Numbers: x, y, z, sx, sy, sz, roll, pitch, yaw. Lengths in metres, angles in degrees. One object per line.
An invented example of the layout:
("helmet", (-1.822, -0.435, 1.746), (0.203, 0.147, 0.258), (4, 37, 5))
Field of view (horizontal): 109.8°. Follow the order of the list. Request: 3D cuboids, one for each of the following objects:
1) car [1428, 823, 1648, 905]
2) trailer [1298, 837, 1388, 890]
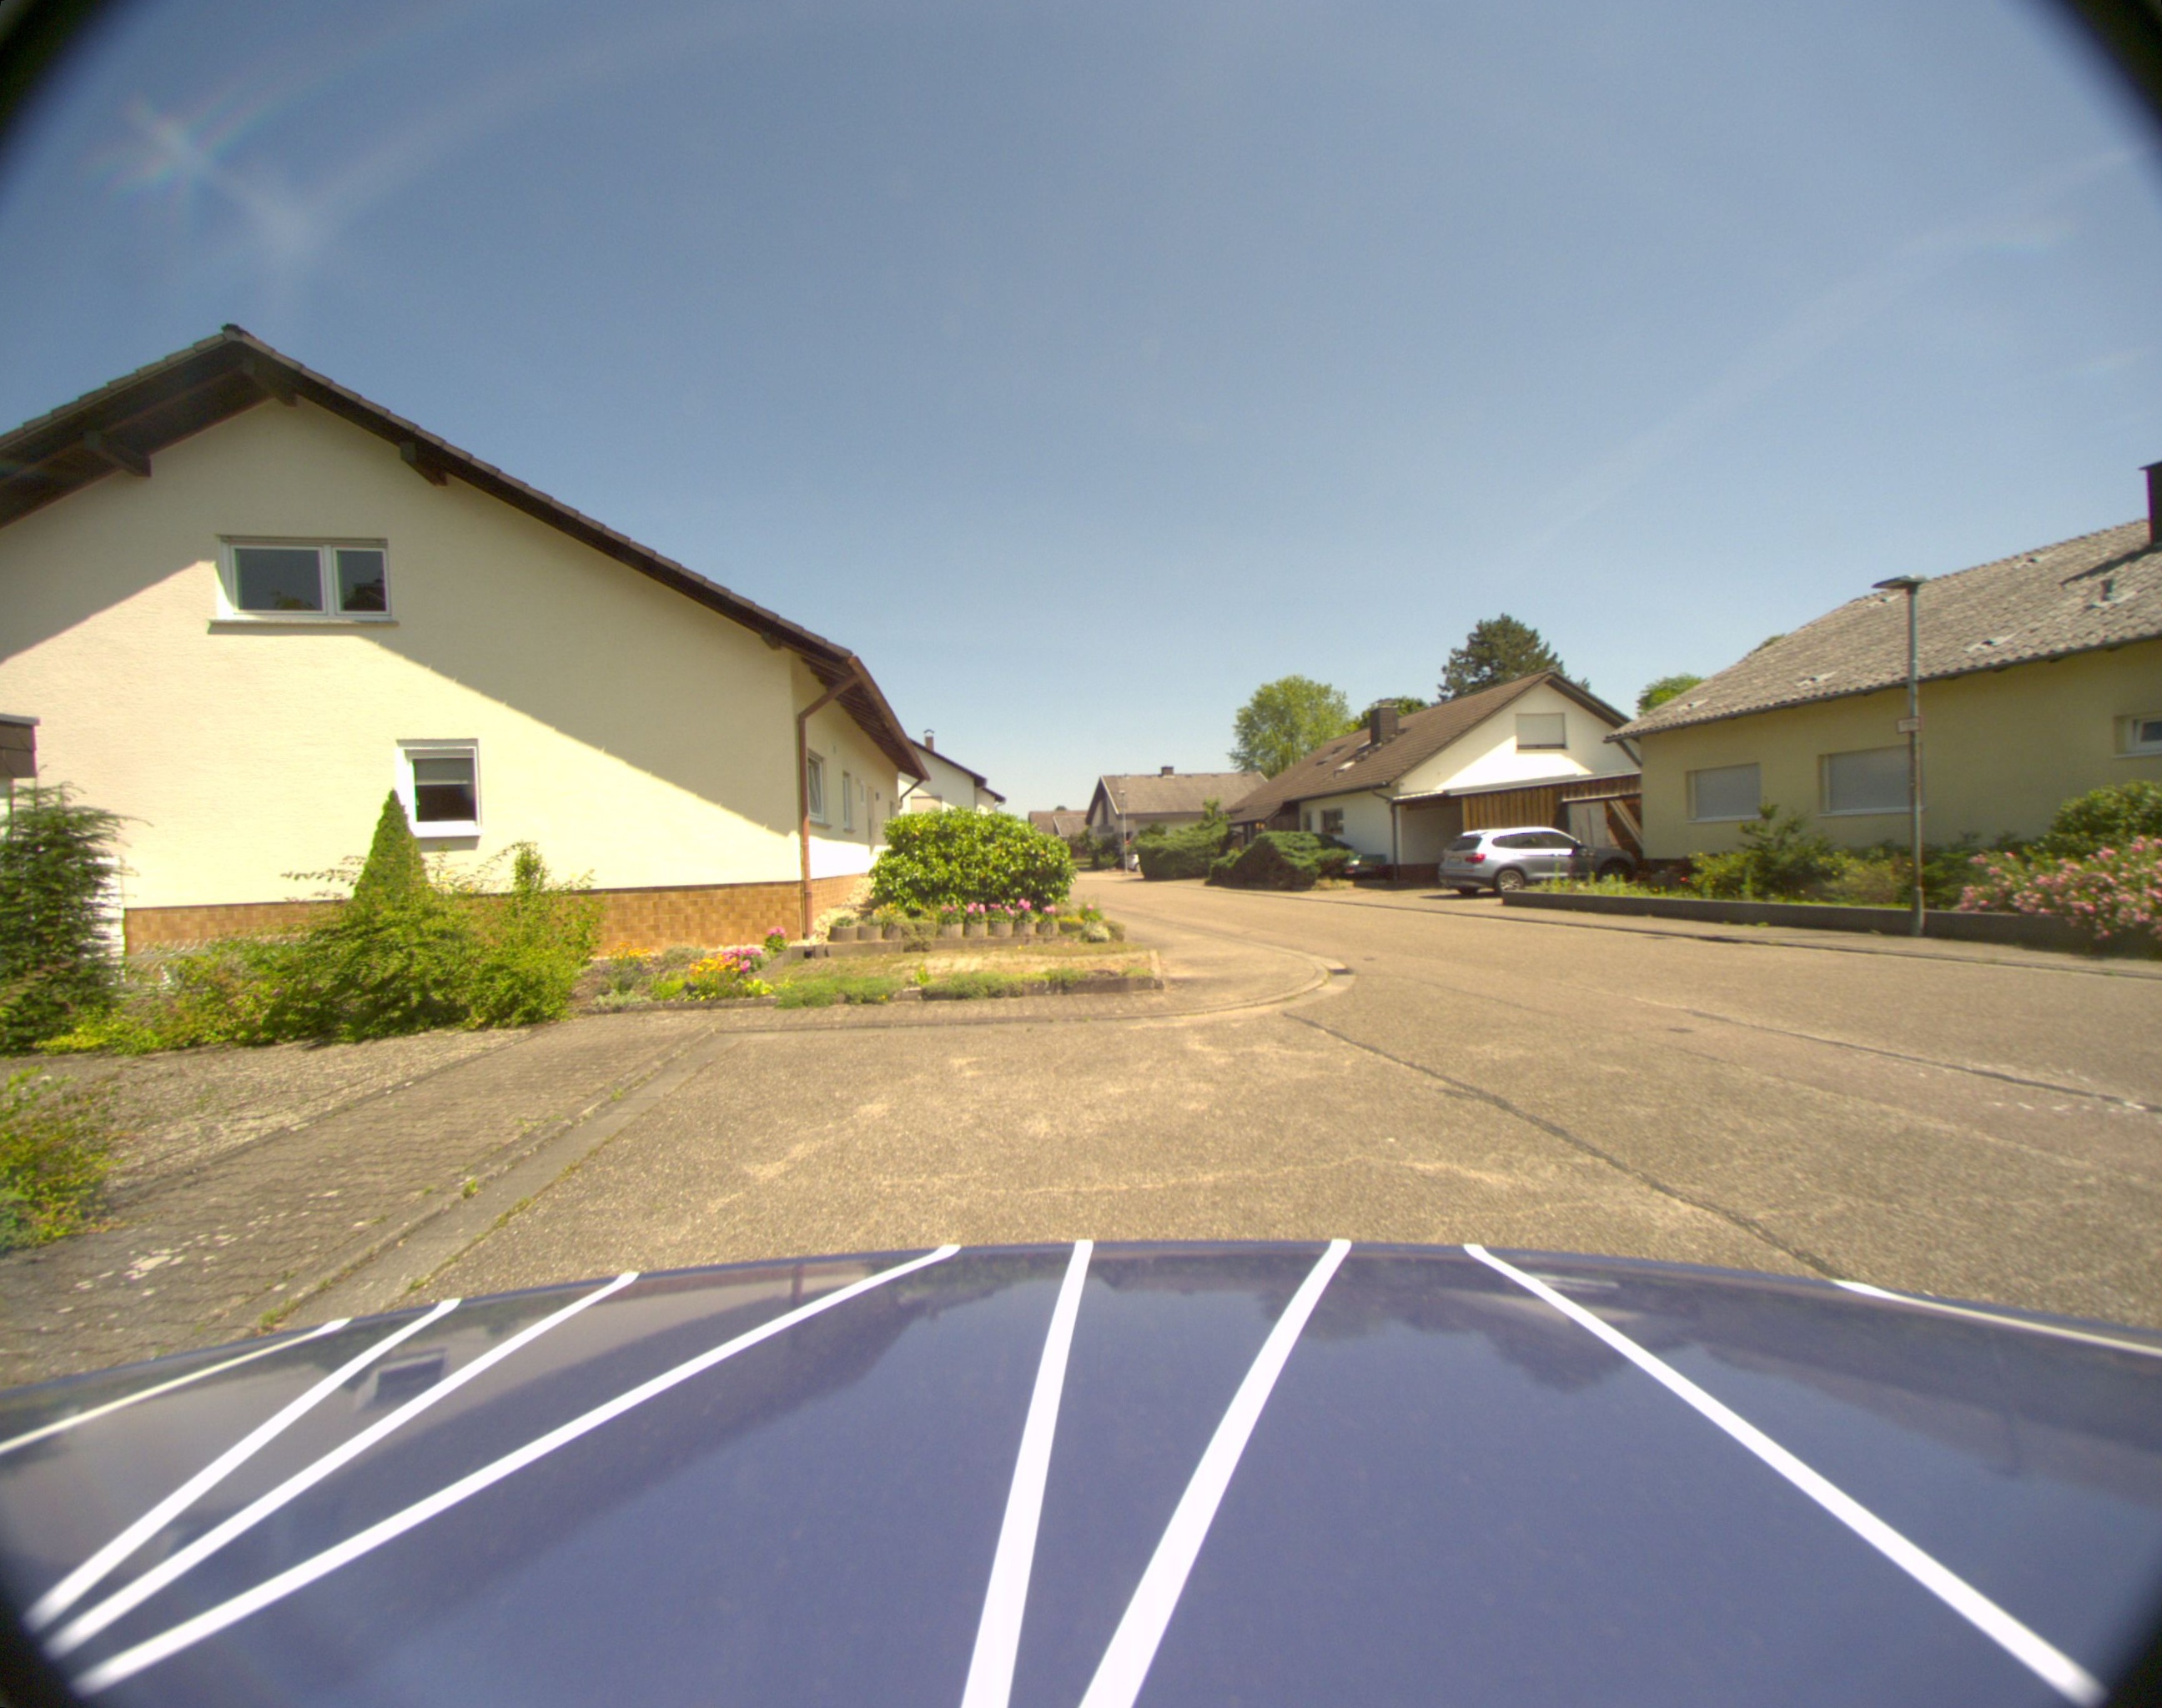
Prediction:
("car", (11.543, 0.226, 19.350), (4.641, 1.692, 1.708), (-4, 1, -6))
("trailer", (9.112, 0.294, 26.663), (1.592, 1.663, 3.293), (-4, 1, -8))
